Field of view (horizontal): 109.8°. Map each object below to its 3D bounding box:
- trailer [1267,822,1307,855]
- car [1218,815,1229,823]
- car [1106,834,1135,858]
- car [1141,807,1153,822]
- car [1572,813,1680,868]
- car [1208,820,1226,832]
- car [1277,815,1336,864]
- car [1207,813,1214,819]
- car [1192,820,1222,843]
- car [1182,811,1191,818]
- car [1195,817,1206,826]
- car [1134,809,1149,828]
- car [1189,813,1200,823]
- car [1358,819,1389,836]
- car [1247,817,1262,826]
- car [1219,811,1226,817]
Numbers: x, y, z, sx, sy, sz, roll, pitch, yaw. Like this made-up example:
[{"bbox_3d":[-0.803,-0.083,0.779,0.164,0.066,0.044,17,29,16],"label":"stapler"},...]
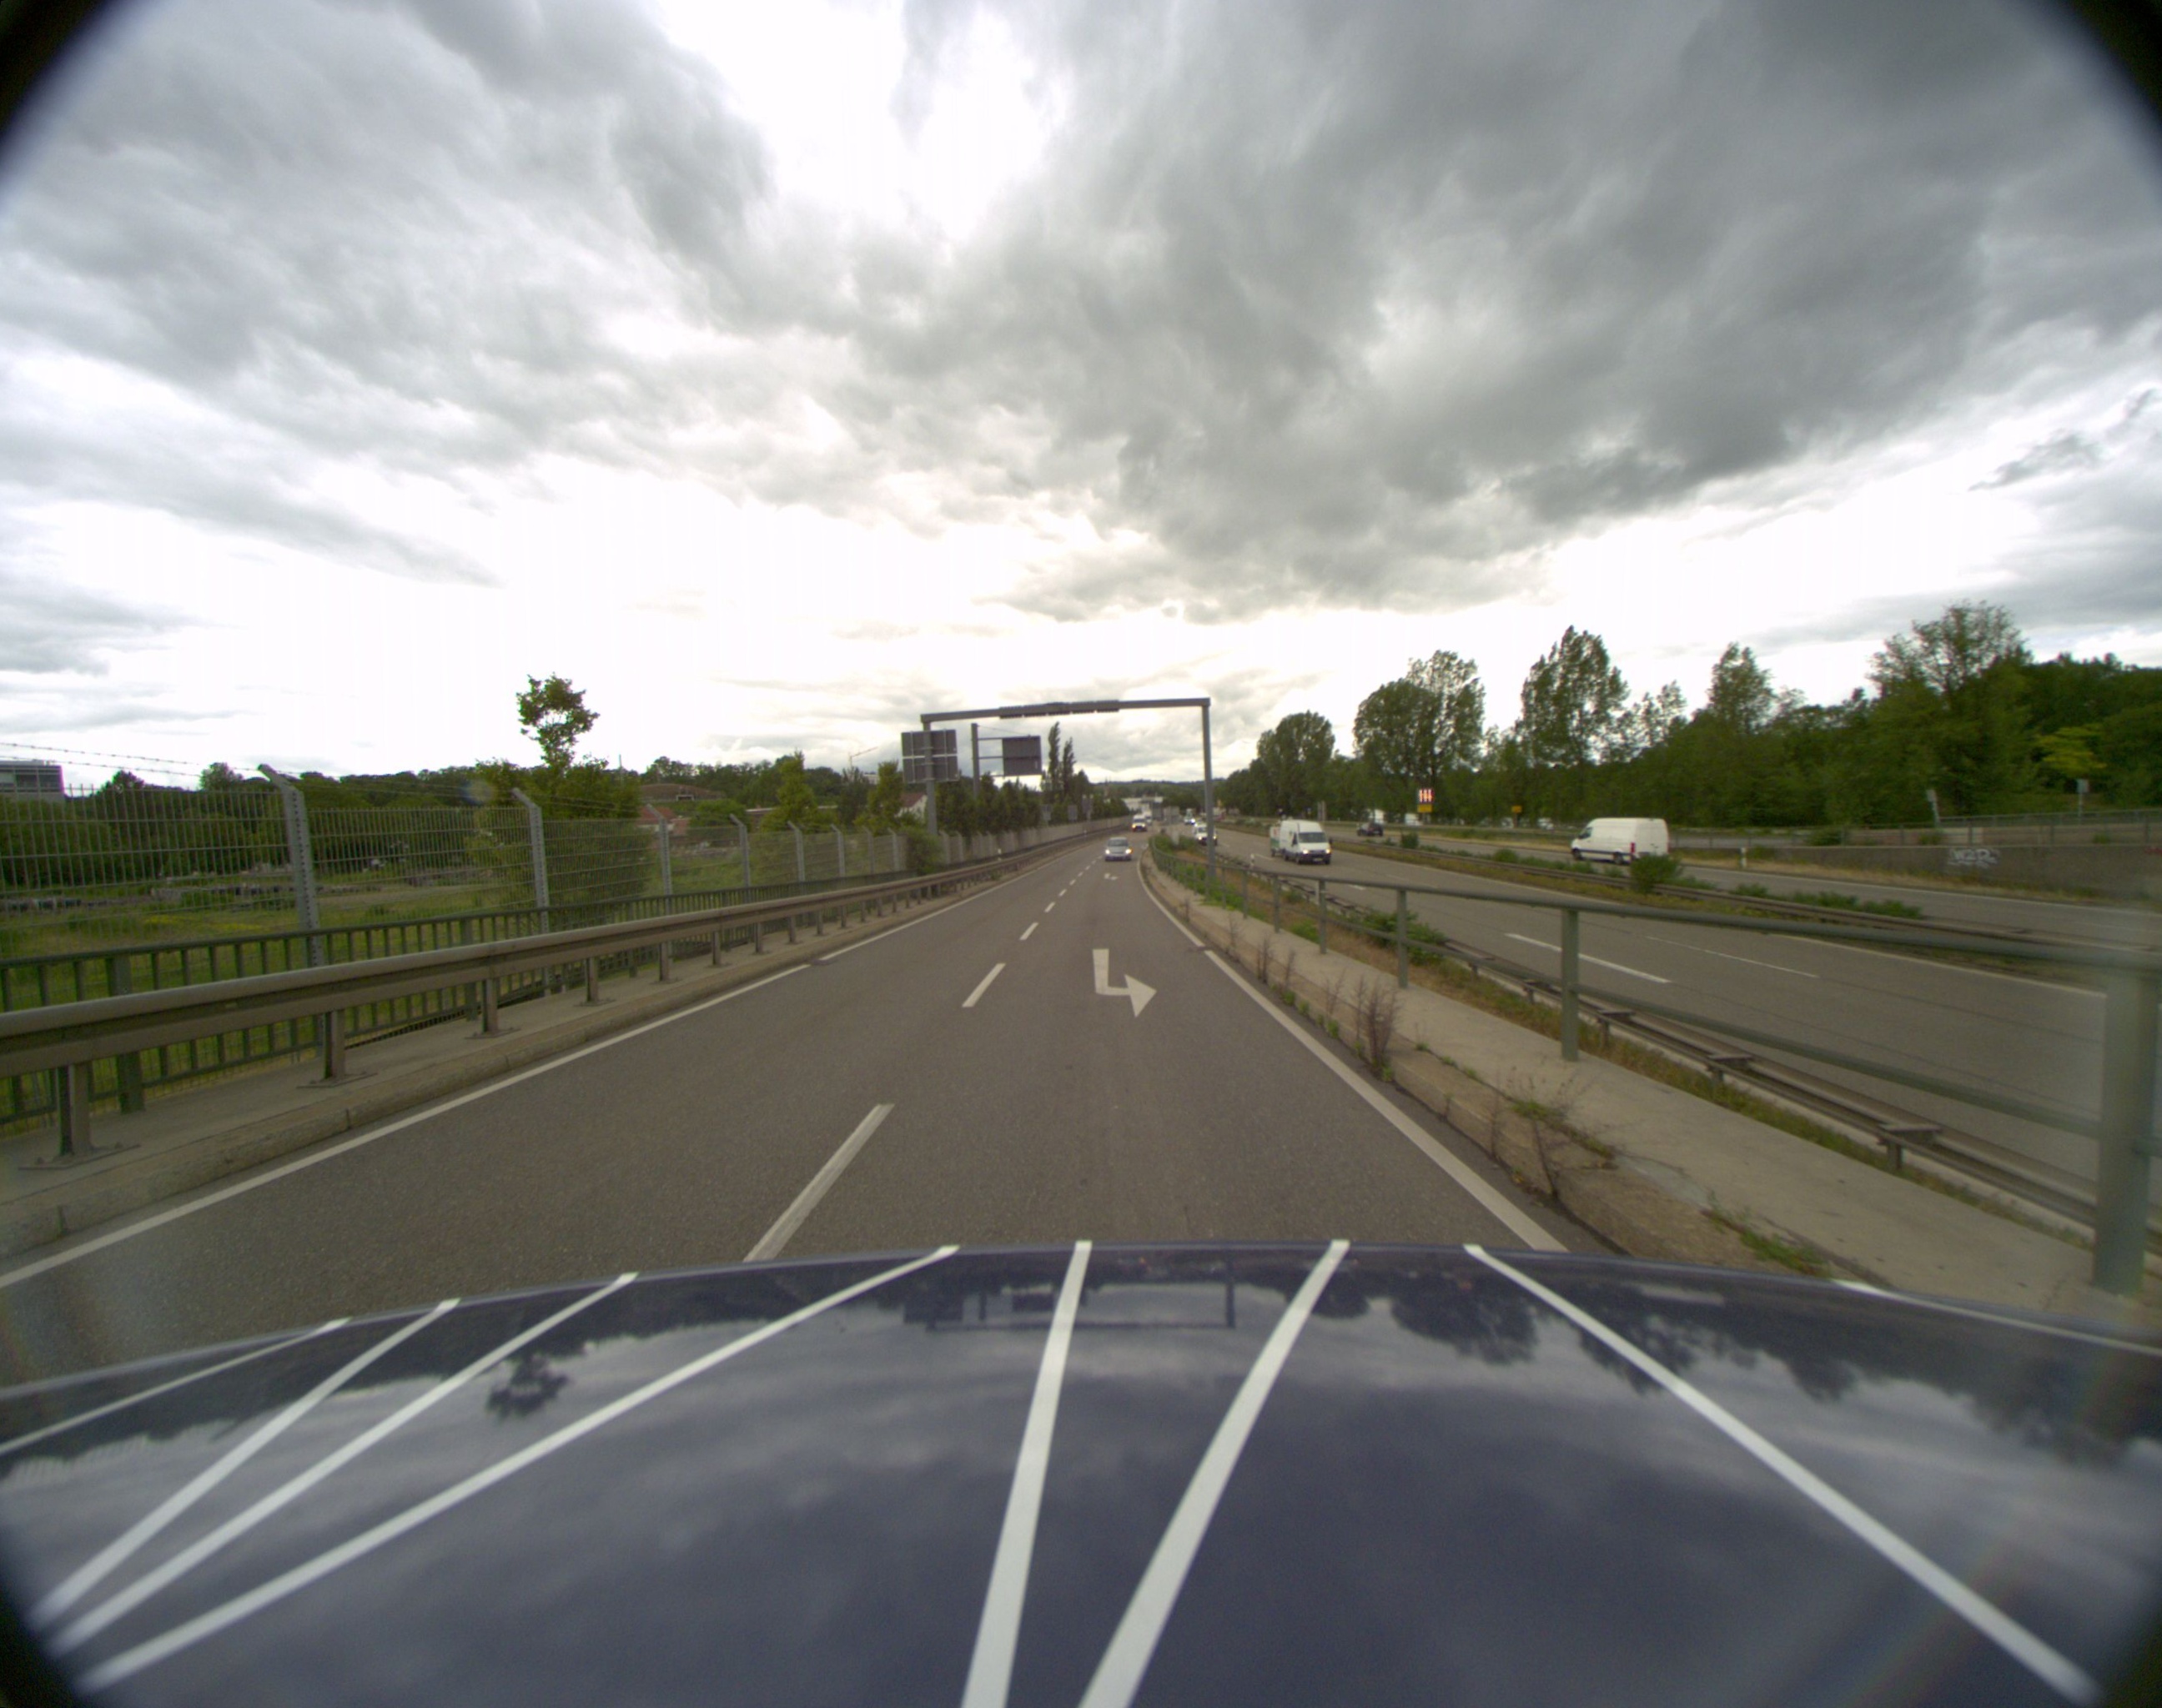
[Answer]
[{"bbox_3d":[14.497,-1.109,53.713,1.733,2.118,3.934,-2,3,1],"label":"trailer"},{"bbox_3d":[33.044,-8.165,176.265,1.903,1.641,3.930,-2,3,1],"label":"car"},{"bbox_3d":[2.717,-0.559,53.429,1.781,1.578,3.999,-2,1,0],"label":"car"},{"bbox_3d":[15.244,-9.070,175.499,2.664,3.311,7.091,-2,2,6],"label":"car"},{"bbox_3d":[30.787,-0.861,43.178,2.215,2.765,5.357,-1,4,1],"label":"car"},{"bbox_3d":[17.885,-3.652,100.059,1.747,1.444,4.163,-2,3,1],"label":"car"},{"bbox_3d":[14.418,-1.036,48.876,1.998,2.671,5.928,-3,5,1],"label":"car"},{"bbox_3d":[42.708,-12.688,251.069,1.997,1.805,4.001,-2,1,7],"label":"car"},{"bbox_3d":[11.911,-2.159,72.352,1.998,1.867,5.195,-2,4,1],"label":"car"},{"bbox_3d":[30.197,-11.323,217.713,1.845,1.704,4.277,-2,4,1],"label":"car"},{"bbox_3d":[22.761,-6.260,145.040,1.560,1.544,3.680,-2,4,0],"label":"car"},{"bbox_3d":[9.458,-5.505,118.922,2.115,2.767,6.780,-2,1,4],"label":"car"},{"bbox_3d":[24.794,-7.851,166.401,1.954,1.925,4.893,-2,4,3],"label":"car"},{"bbox_3d":[31.874,-2.947,82.972,1.903,1.641,3.929,-2,4,1],"label":"car"},{"bbox_3d":[31.691,-5.979,139.015,1.903,1.641,3.930,-2,3,1],"label":"car"},{"bbox_3d":[46.239,-12.955,248.418,1.997,1.805,4.001,-2,1,7],"label":"car"}]
